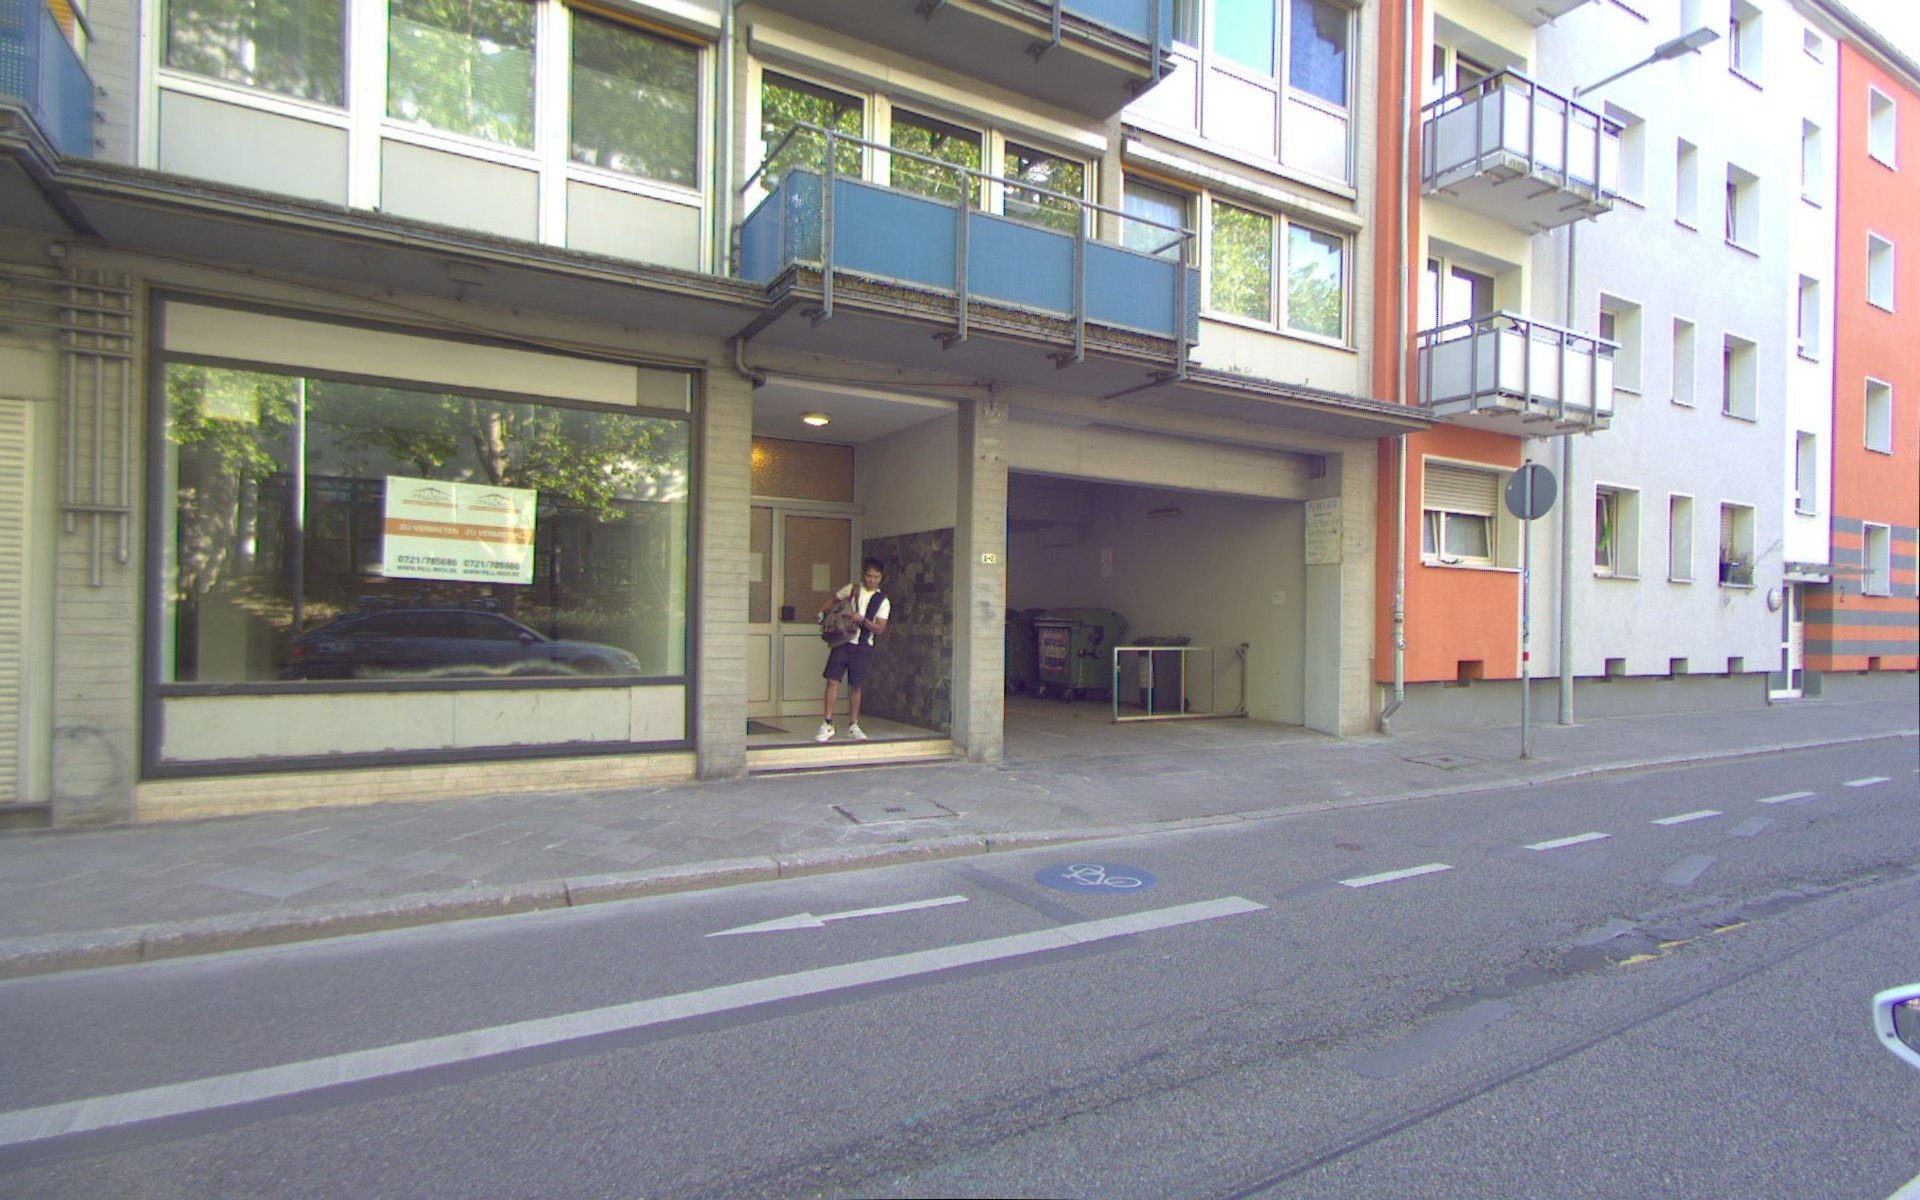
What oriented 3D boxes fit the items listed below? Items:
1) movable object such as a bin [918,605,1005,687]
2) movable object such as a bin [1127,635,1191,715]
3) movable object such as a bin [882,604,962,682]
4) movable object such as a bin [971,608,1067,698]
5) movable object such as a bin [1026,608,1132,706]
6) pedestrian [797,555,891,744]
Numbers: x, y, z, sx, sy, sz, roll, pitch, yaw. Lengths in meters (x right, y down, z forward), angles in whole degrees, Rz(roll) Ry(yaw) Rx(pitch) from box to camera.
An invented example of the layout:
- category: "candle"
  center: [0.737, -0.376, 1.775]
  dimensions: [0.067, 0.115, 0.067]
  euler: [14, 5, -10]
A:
- category: "movable object such as a bin"
  center: [0.013, 0.830, 18.695]
  dimensions: [1.120, 1.444, 1.268]
  euler: [2, 0, -28]
- category: "movable object such as a bin"
  center: [2.870, 1.072, 14.485]
  dimensions: [0.713, 1.094, 0.533]
  euler: [2, 0, -29]
- category: "movable object such as a bin"
  center: [-0.759, 0.833, 19.786]
  dimensions: [1.120, 1.444, 1.268]
  euler: [2, 0, -28]
- category: "movable object such as a bin"
  center: [0.990, 0.877, 17.151]
  dimensions: [1.120, 1.444, 1.268]
  euler: [2, 0, -28]
- category: "movable object such as a bin"
  center: [1.858, 0.872, 15.809]
  dimensions: [1.120, 1.444, 1.268]
  euler: [2, 0, -28]
- category: "pedestrian"
  center: [-1.052, 0.440, 9.237]
  dimensions: [0.778, 1.639, 0.836]
  euler: [2, 0, -5]
